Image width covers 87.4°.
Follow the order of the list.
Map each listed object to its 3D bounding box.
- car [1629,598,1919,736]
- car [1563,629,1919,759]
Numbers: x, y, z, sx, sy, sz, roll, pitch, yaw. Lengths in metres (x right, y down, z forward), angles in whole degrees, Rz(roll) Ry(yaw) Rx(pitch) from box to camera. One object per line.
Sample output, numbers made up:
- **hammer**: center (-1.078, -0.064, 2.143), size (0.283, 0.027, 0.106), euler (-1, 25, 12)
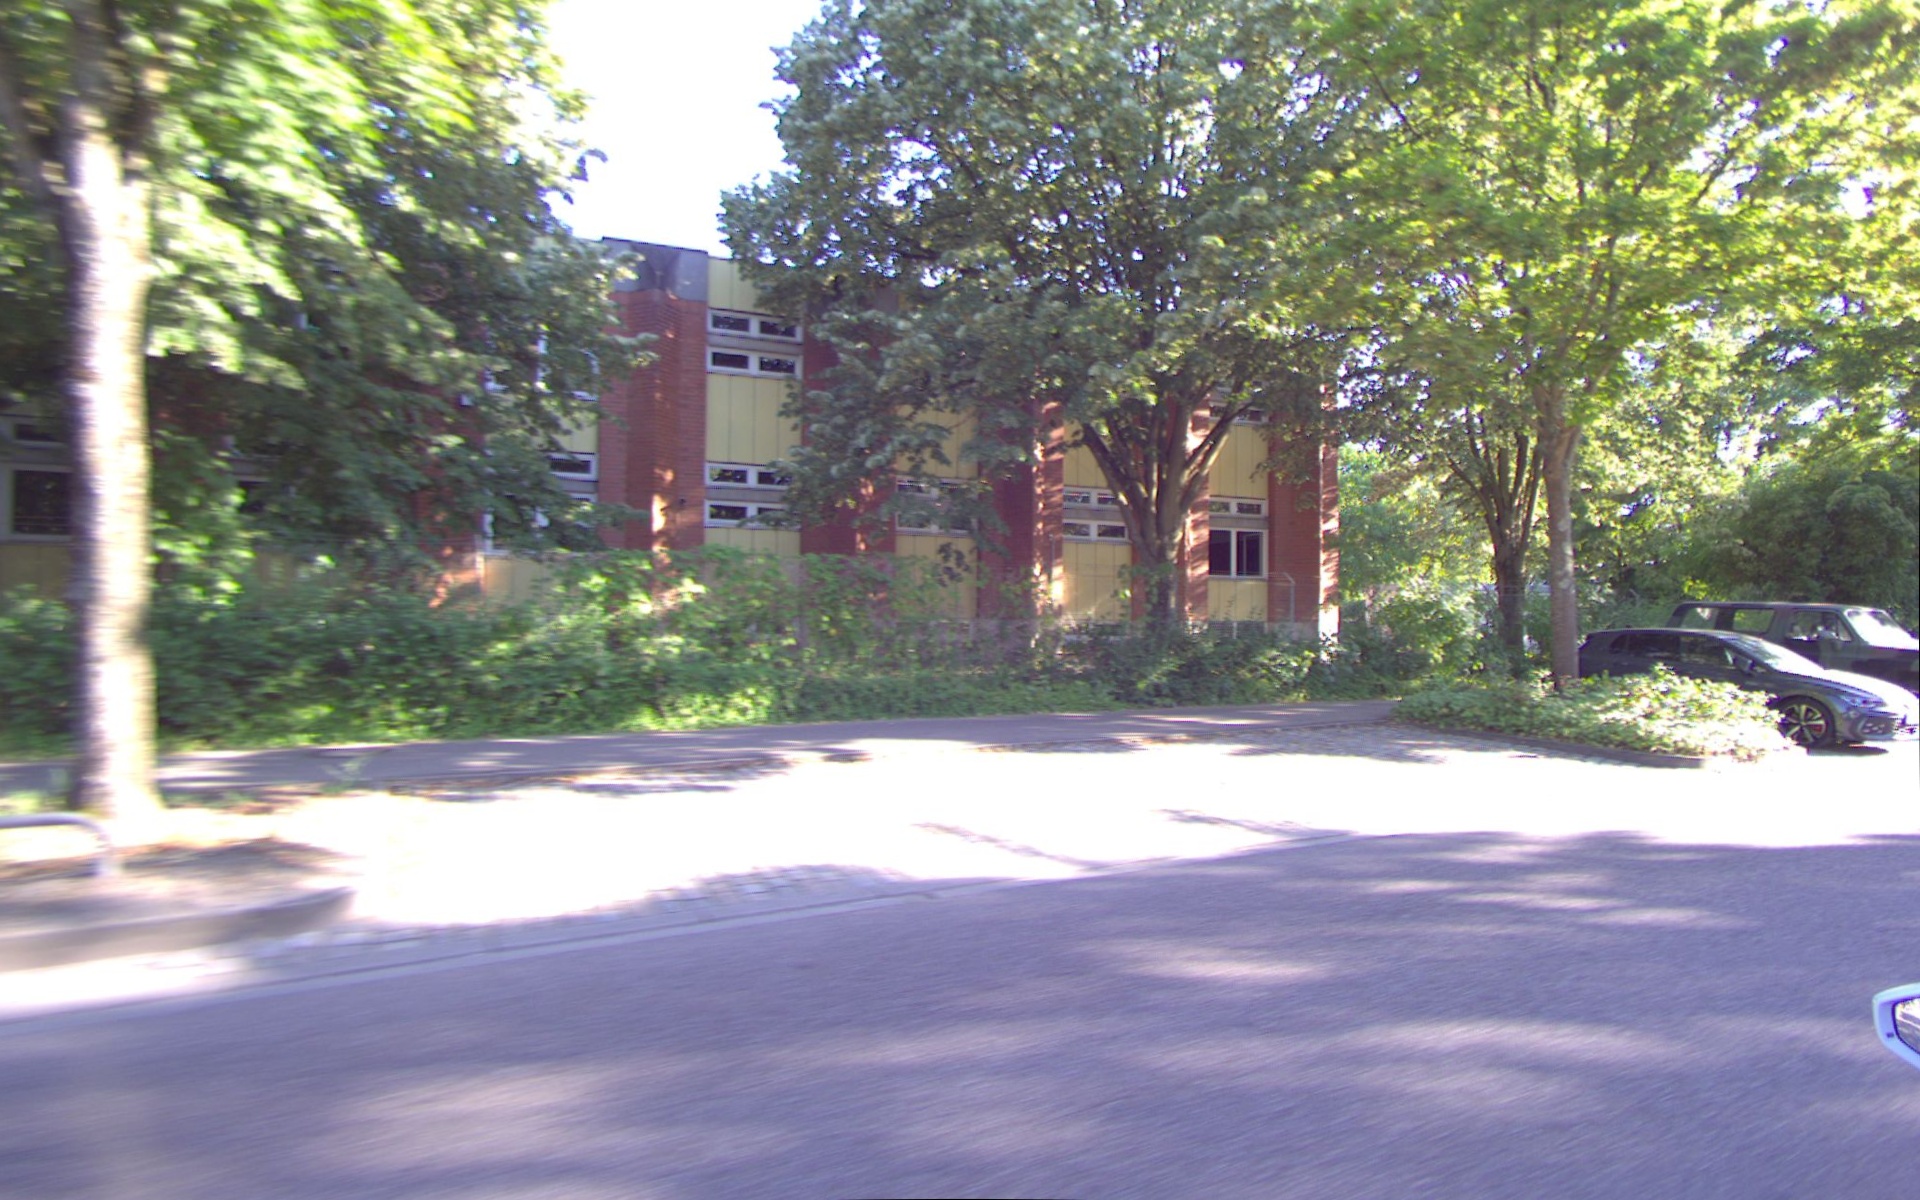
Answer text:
- **car**: center (14.471, 1.049, 16.889), size (2.147, 2.047, 4.985), euler (1, -1, -28)
- **car**: center (11.284, 1.211, 14.499), size (1.684, 1.550, 4.195), euler (1, -1, -28)
